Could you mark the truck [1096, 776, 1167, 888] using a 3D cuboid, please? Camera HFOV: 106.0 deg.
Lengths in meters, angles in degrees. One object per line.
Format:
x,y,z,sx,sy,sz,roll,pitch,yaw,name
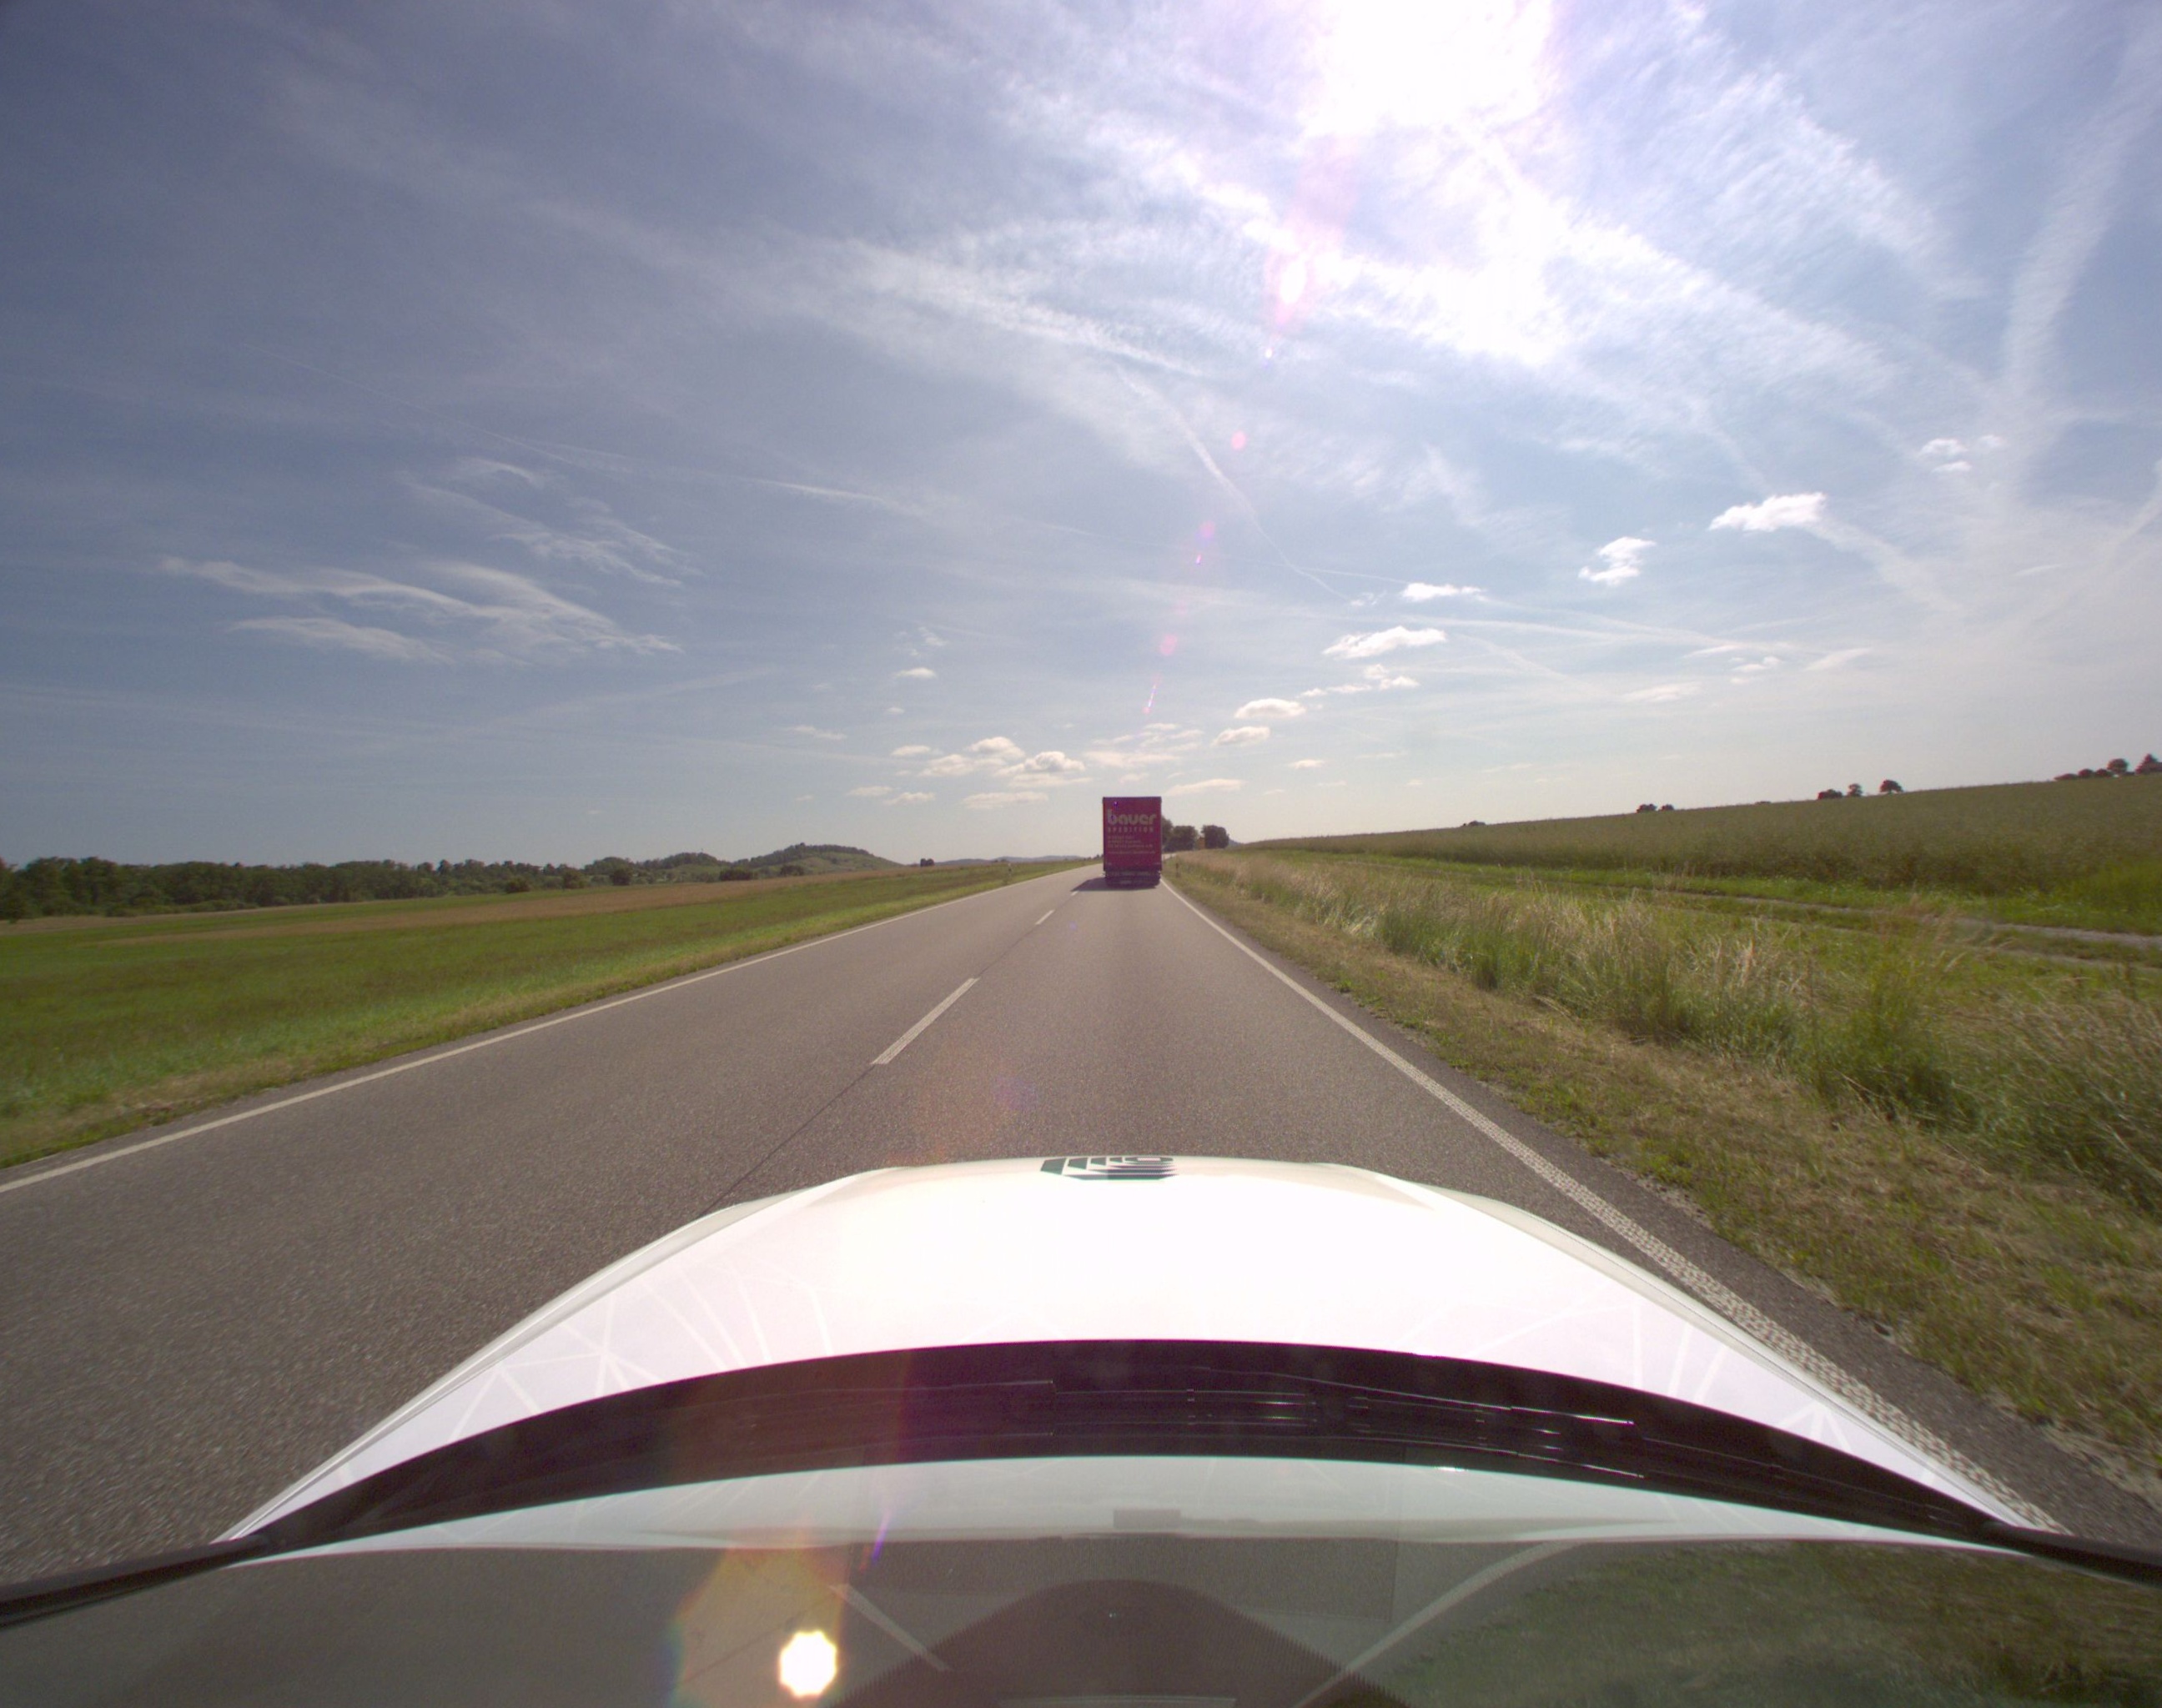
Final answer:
2.521,-0.966,39.379,2.961,4.713,9.378,-1,0,5,truck
